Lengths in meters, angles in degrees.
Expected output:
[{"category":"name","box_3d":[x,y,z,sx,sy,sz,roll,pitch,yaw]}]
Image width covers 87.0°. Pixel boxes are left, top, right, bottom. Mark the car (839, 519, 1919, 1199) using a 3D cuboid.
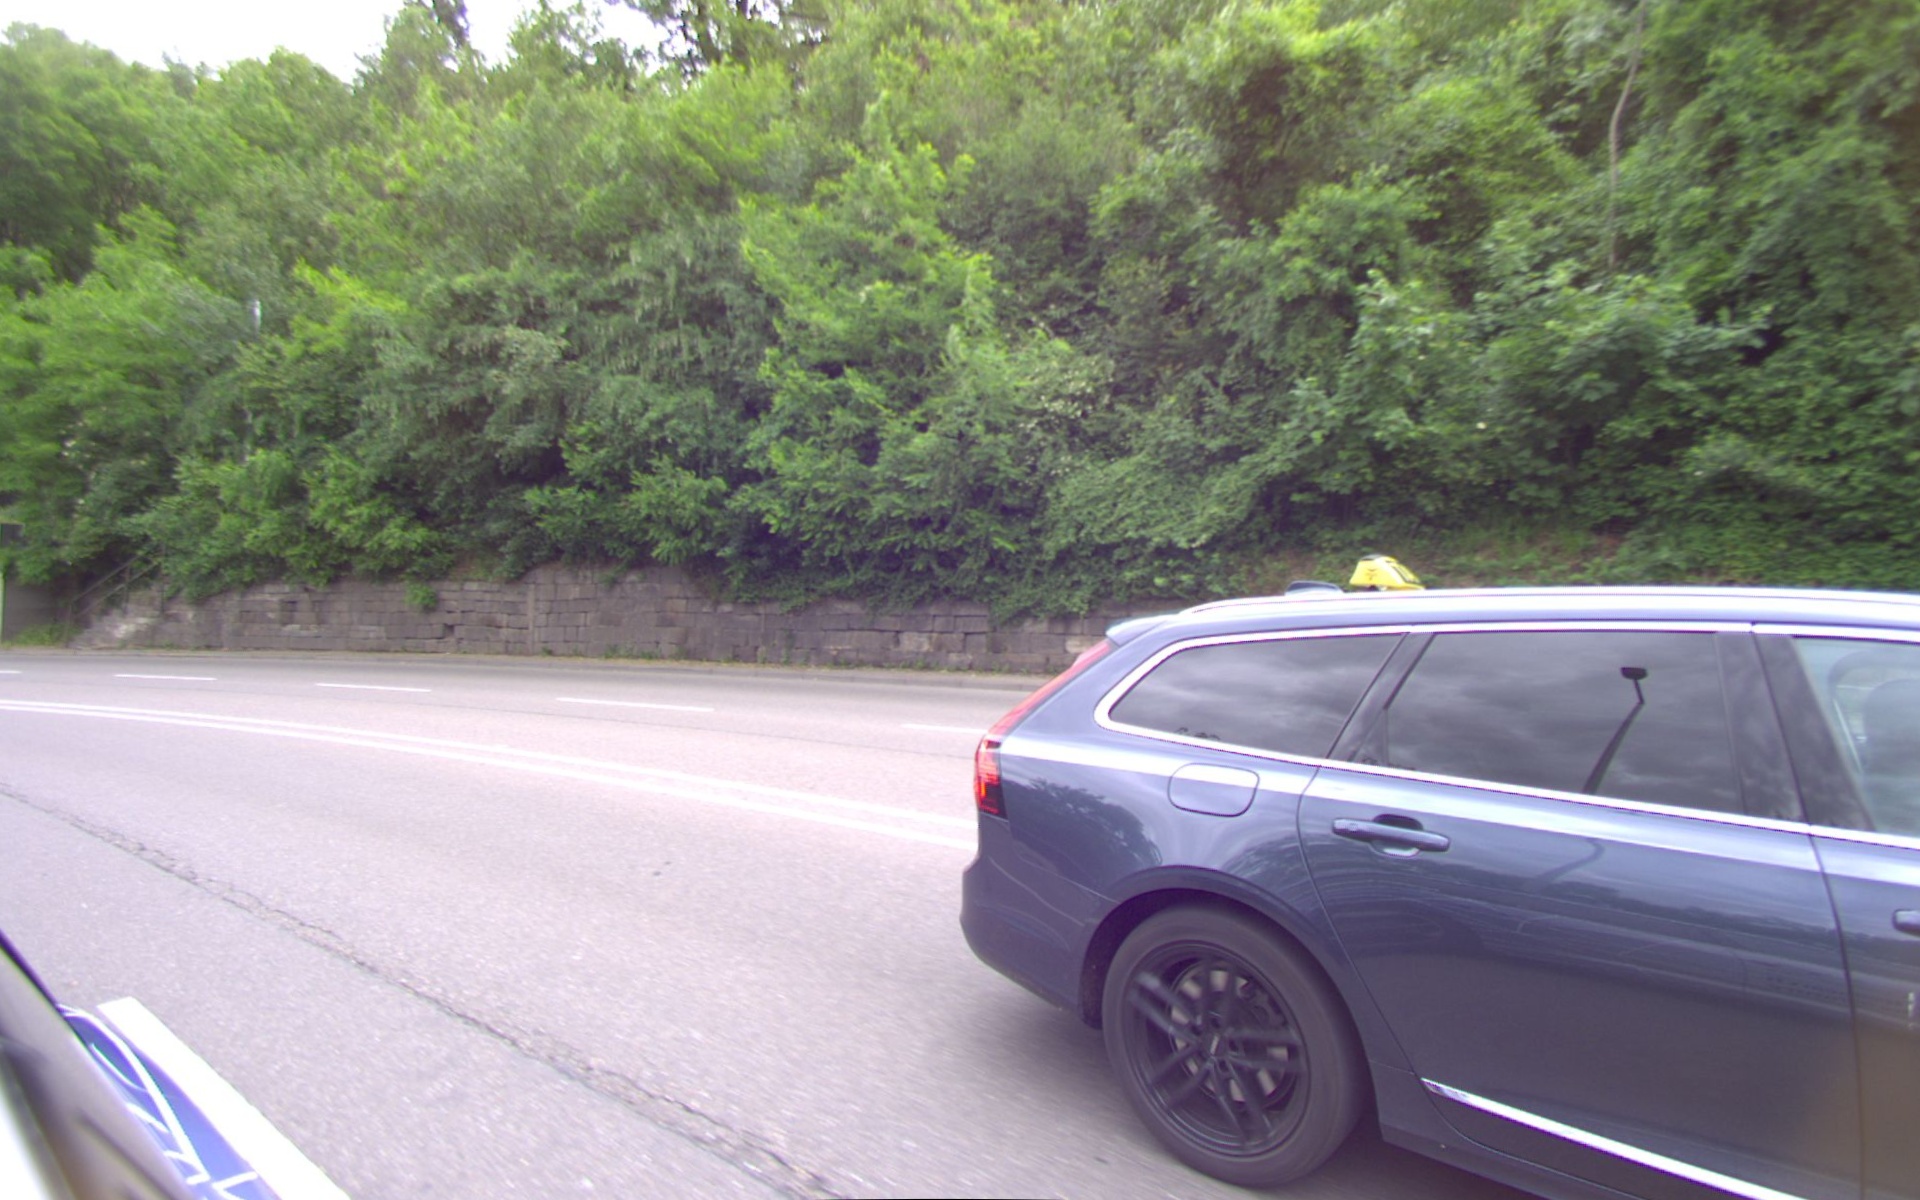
[{"category":"car","box_3d":[2.200,0.636,2.161,5.021,1.588,1.916,2,4,38]}]
